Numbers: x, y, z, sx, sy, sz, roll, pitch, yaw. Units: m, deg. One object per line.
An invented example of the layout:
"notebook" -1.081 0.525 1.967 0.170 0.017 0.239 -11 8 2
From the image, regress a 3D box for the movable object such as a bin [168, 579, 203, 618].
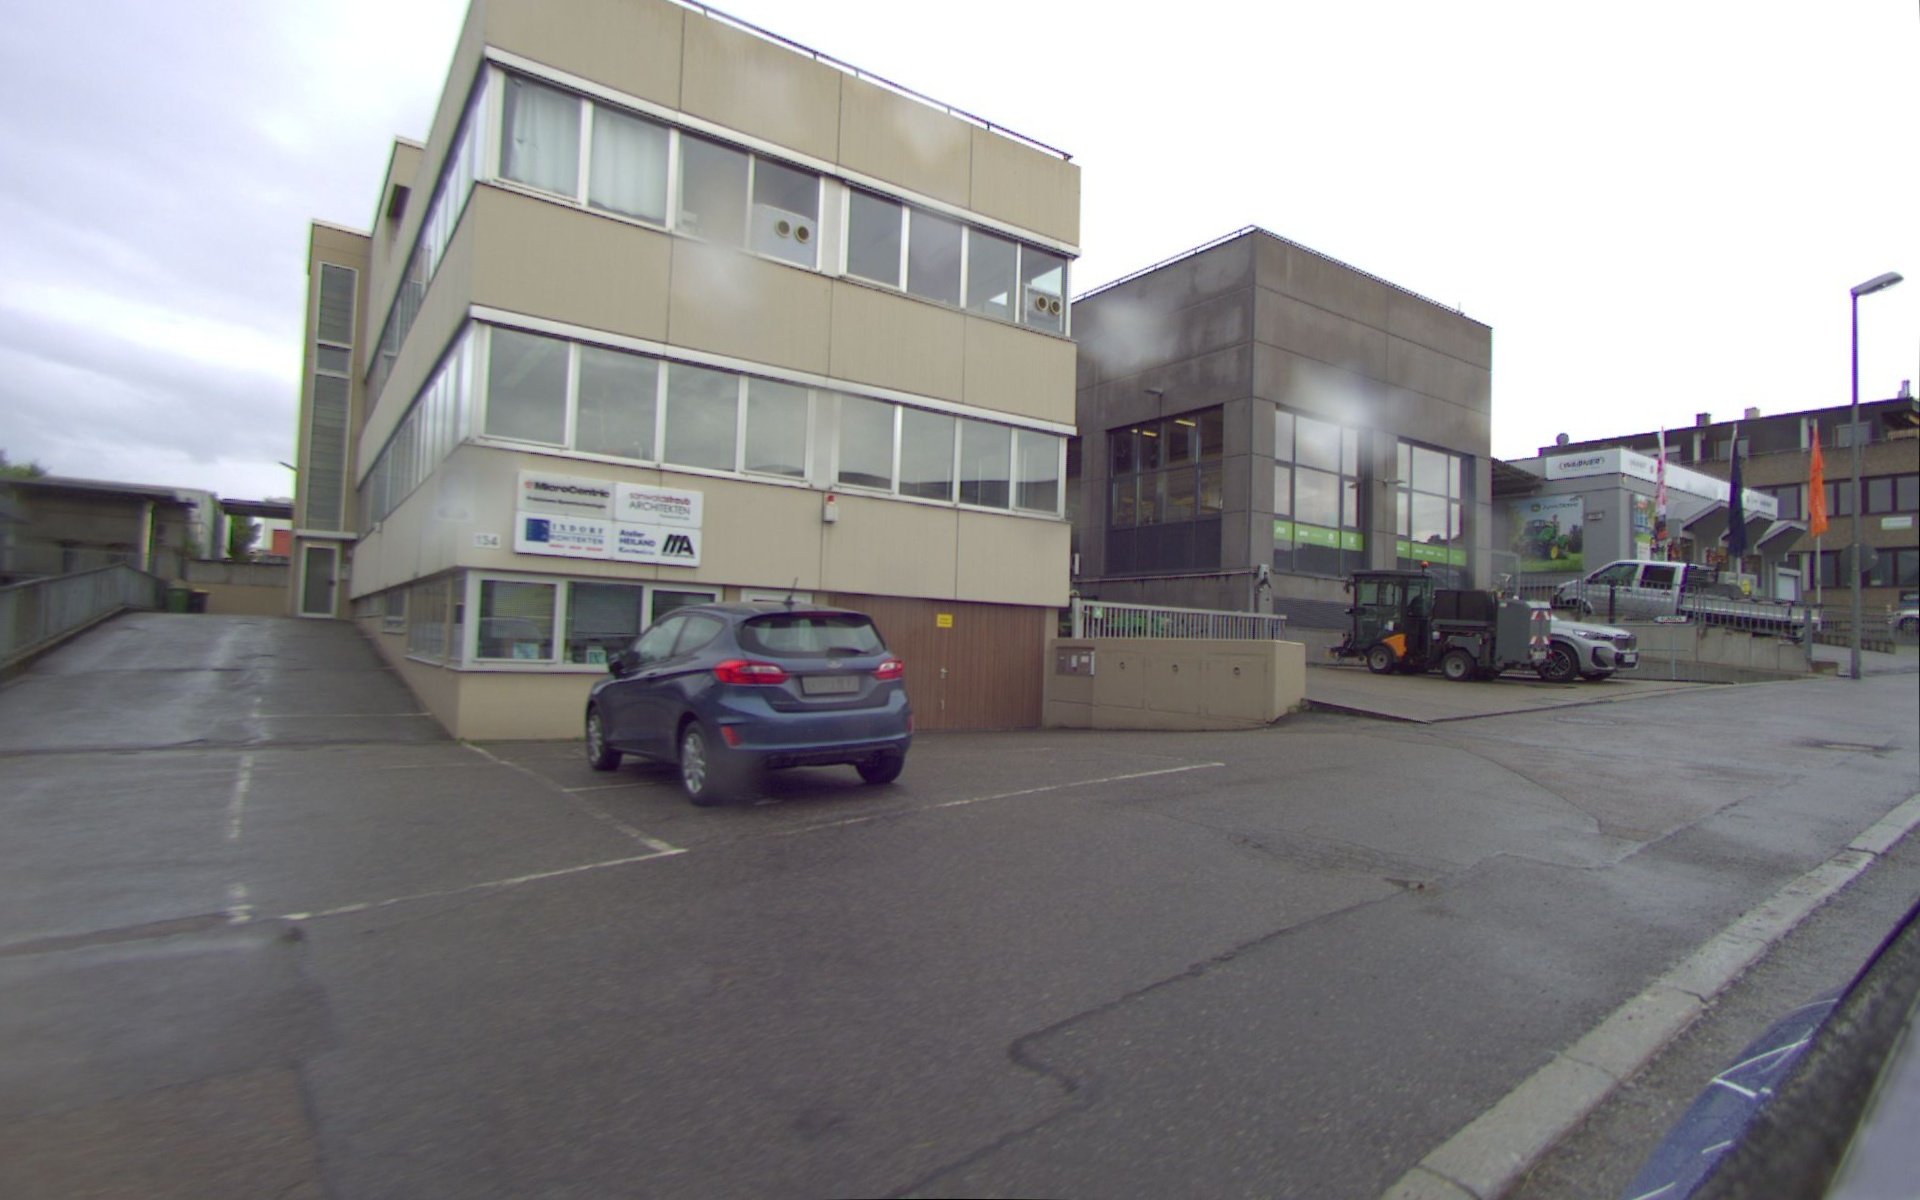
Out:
"movable object such as a bin" -28.570 -0.057 37.349 0.973 1.412 1.327 -1 0 -35

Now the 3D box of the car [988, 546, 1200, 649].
"car" 2.923 -0.133 23.279 1.863 1.874 4.910 5 2 -36

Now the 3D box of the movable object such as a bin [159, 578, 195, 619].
"movable object such as a bin" -27.406 -0.055 35.431 0.920 1.412 1.327 -1 0 -35

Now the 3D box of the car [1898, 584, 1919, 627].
"car" 38.172 0.268 37.881 1.966 1.593 4.135 -1 3 -35

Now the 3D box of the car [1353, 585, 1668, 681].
"car" 10.508 0.544 19.756 1.888 1.634 5.107 1 0 -35

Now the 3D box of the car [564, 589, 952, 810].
"car" -1.933 0.699 8.647 1.787 1.401 3.905 -1 -1 -36

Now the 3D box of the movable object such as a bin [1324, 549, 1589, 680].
"movable object such as a bin" 9.020 0.224 18.757 1.448 2.137 4.269 0 0 -34

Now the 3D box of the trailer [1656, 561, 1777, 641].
"trailer" 24.780 0.061 33.132 4.225 2.448 1.893 1 -1 -34

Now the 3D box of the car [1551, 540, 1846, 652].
"car" 18.053 -0.218 25.093 2.178 2.036 5.326 0 8 -33
